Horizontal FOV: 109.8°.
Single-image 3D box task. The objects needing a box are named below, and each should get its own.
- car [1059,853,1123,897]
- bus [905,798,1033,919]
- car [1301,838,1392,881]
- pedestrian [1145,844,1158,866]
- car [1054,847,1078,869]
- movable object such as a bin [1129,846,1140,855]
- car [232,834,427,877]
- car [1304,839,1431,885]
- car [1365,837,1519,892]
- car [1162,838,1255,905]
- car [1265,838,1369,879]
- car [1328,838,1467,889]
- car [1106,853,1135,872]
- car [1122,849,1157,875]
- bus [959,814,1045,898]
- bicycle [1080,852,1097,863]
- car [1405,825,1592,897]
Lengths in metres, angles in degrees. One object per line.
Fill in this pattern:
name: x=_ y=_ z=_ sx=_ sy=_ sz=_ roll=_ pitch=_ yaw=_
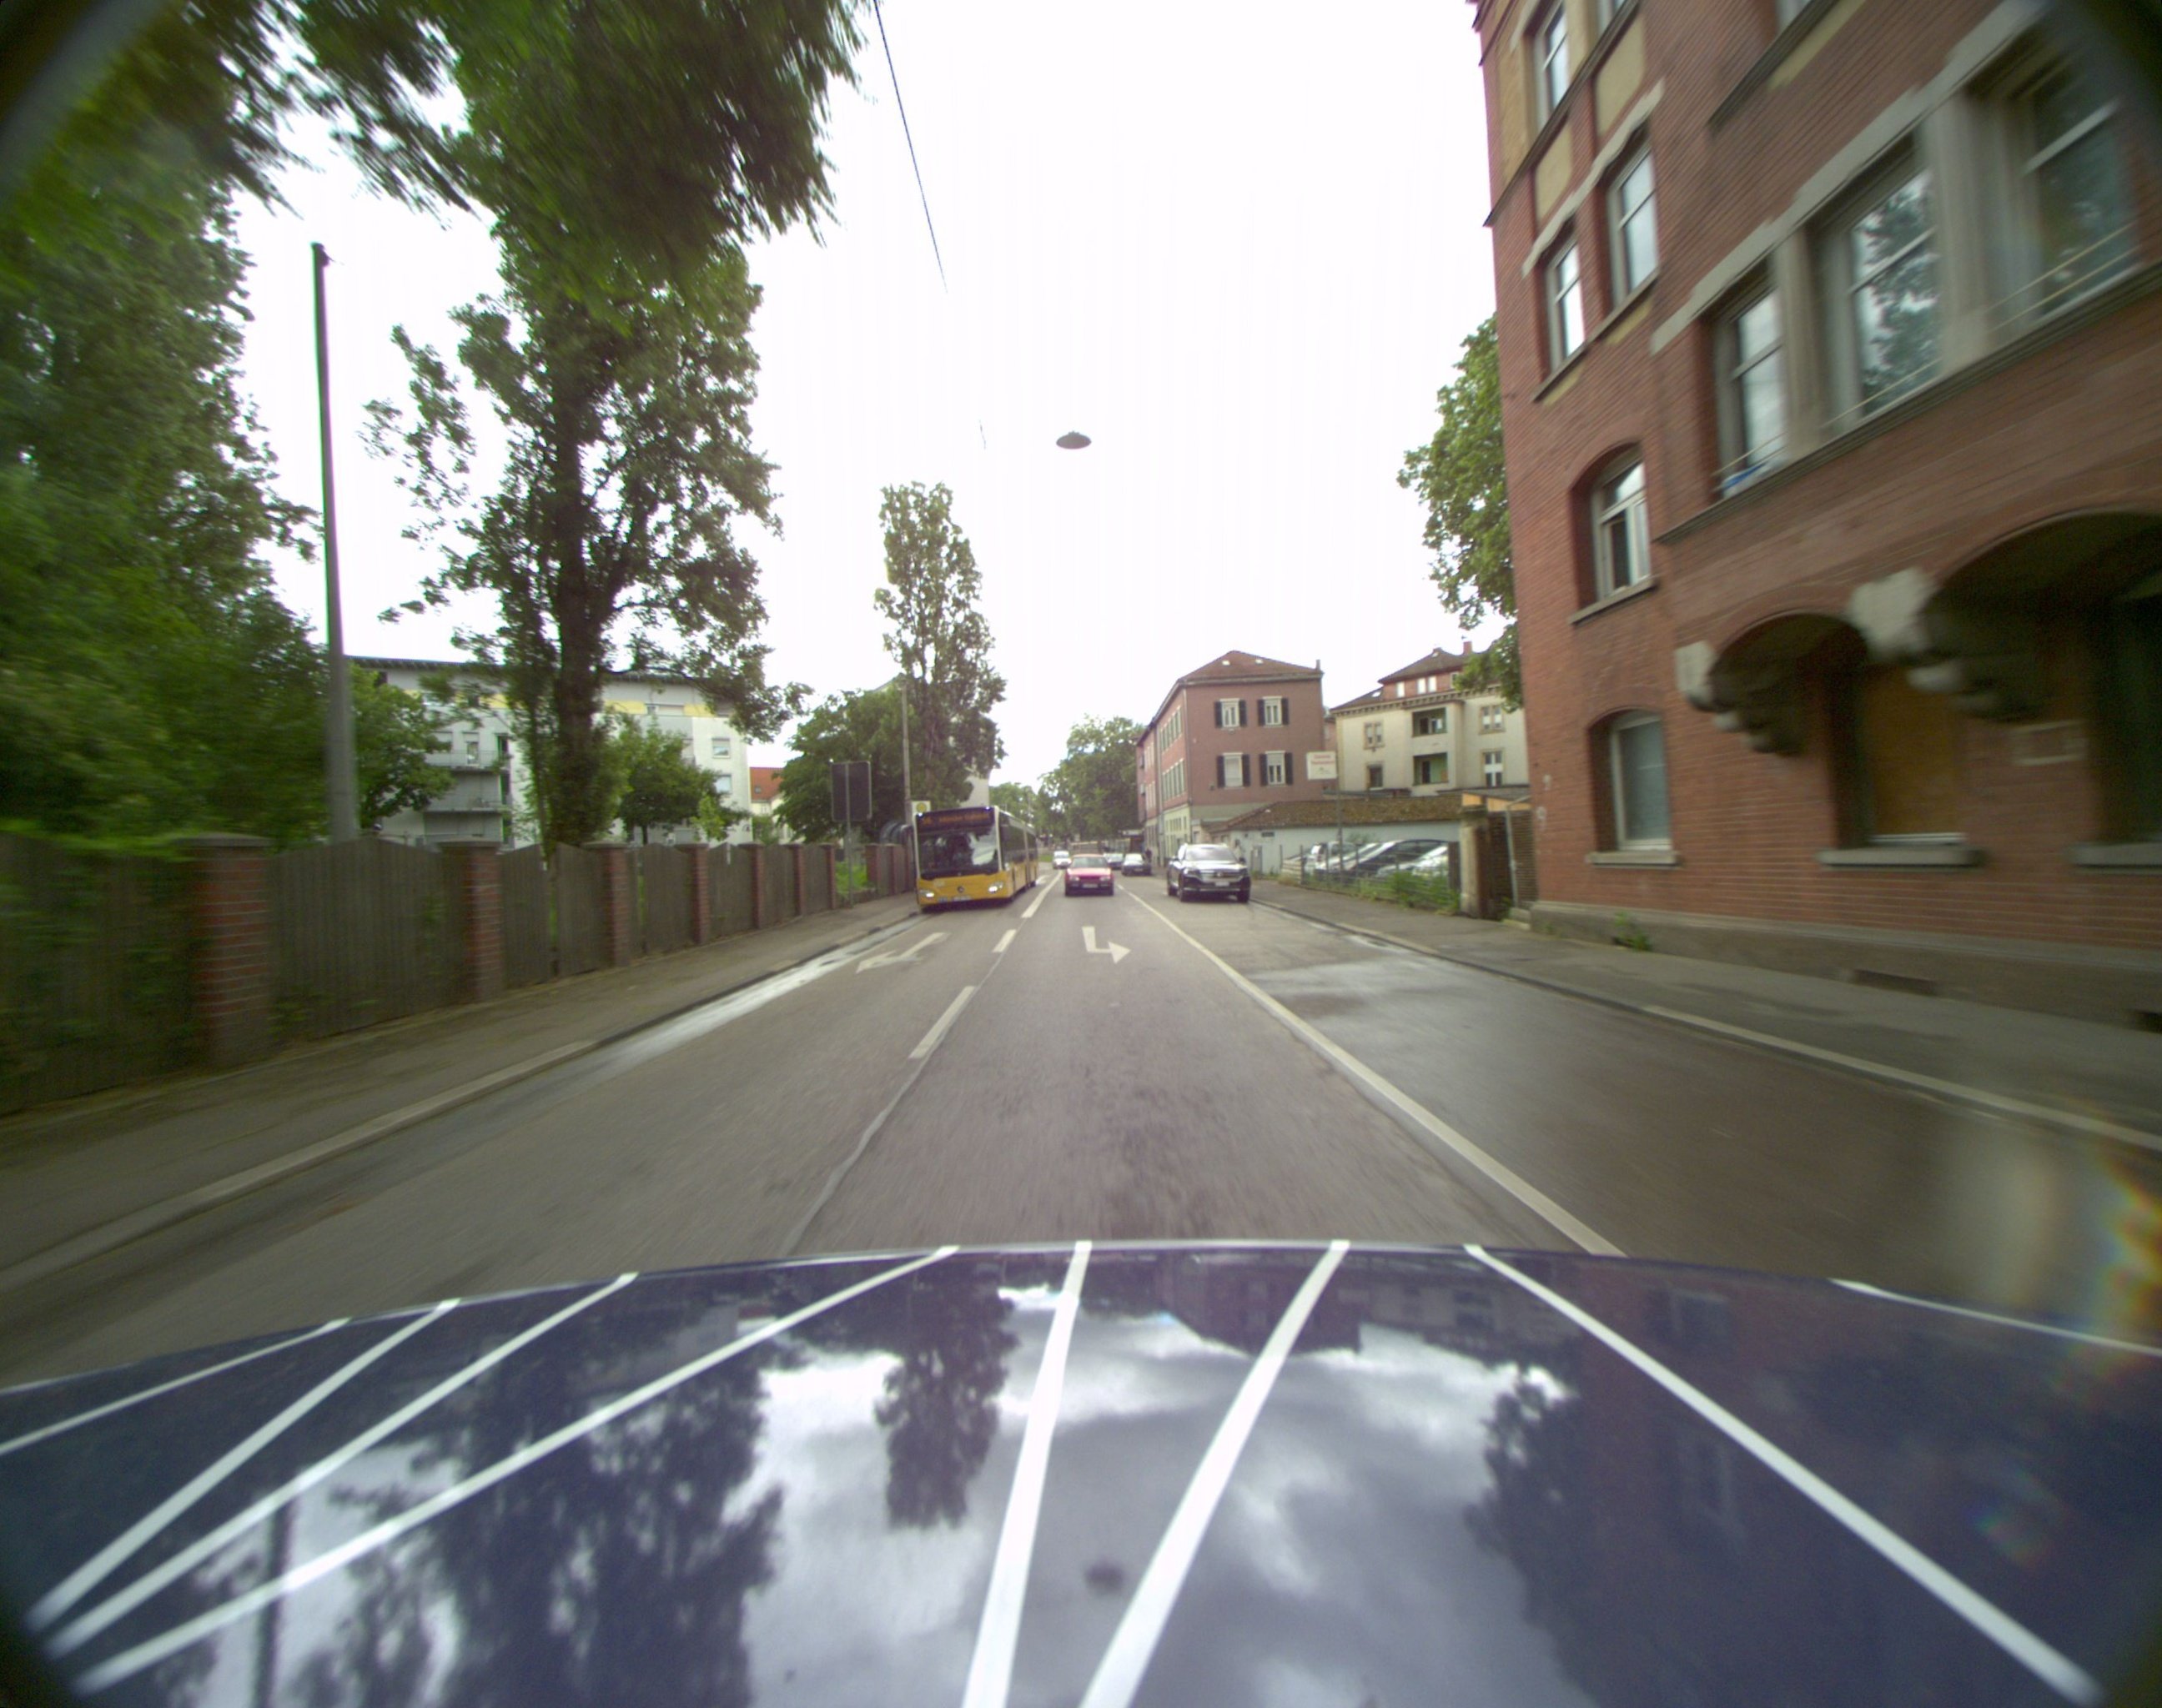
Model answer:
car: x=0.278 y=0.695 z=26.972 sx=1.851 sy=1.414 sz=4.171 roll=-1 pitch=0 yaw=-5
bus: x=-3.387 y=0.098 z=25.582 sx=2.678 sy=3.120 sz=9.216 roll=-5 pitch=0 yaw=0
car: x=10.193 y=0.207 z=29.282 sx=2.854 sy=1.556 sz=1.853 roll=-1 pitch=1 yaw=0
pedestrian: x=5.719 y=0.075 z=61.728 sx=0.763 sy=1.733 sz=0.984 roll=-5 pitch=0 yaw=-3
car: x=-1.603 y=0.358 z=79.055 sx=2.073 sy=1.776 sz=4.453 roll=-5 pitch=4 yaw=-4
movable object such as a bin: x=6.436 y=-0.431 z=91.712 sx=0.674 sy=0.959 sz=1.076 roll=-8 pitch=3 yaw=-44
car: x=-32.151 y=0.023 z=32.790 sx=5.566 sy=1.581 sz=1.995 roll=-2 pitch=3 yaw=-24
car: x=9.930 y=0.262 z=26.536 sx=3.732 sy=1.496 sz=1.853 roll=-1 pitch=1 yaw=0
car: x=10.064 y=0.283 z=21.348 sx=3.605 sy=1.406 sz=1.547 roll=-1 pitch=1 yaw=0
car: x=3.726 y=0.482 z=23.068 sx=1.959 sy=1.723 sz=4.773 roll=-3 pitch=0 yaw=0
car: x=9.805 y=0.177 z=31.767 sx=3.772 sy=1.633 sz=1.853 roll=-1 pitch=1 yaw=0
car: x=9.907 y=0.286 z=23.988 sx=3.605 sy=1.496 sz=1.853 roll=-1 pitch=1 yaw=0
car: x=3.408 y=0.724 z=66.730 sx=1.834 sy=1.446 sz=4.918 roll=-3 pitch=1 yaw=-4
car: x=3.824 y=0.486 z=50.373 sx=1.883 sy=1.477 sz=4.126 roll=-4 pitch=1 yaw=0
bus: x=-3.360 y=0.053 z=35.194 sx=2.669 sy=3.118 sz=10.039 roll=-5 pitch=0 yaw=0
bicycle: x=0.930 y=0.397 z=91.119 sx=1.809 sy=1.170 sz=0.723 roll=-5 pitch=2 yaw=-25
car: x=10.018 y=0.150 z=18.416 sx=3.605 sy=1.603 sz=1.688 roll=-1 pitch=1 yaw=0
